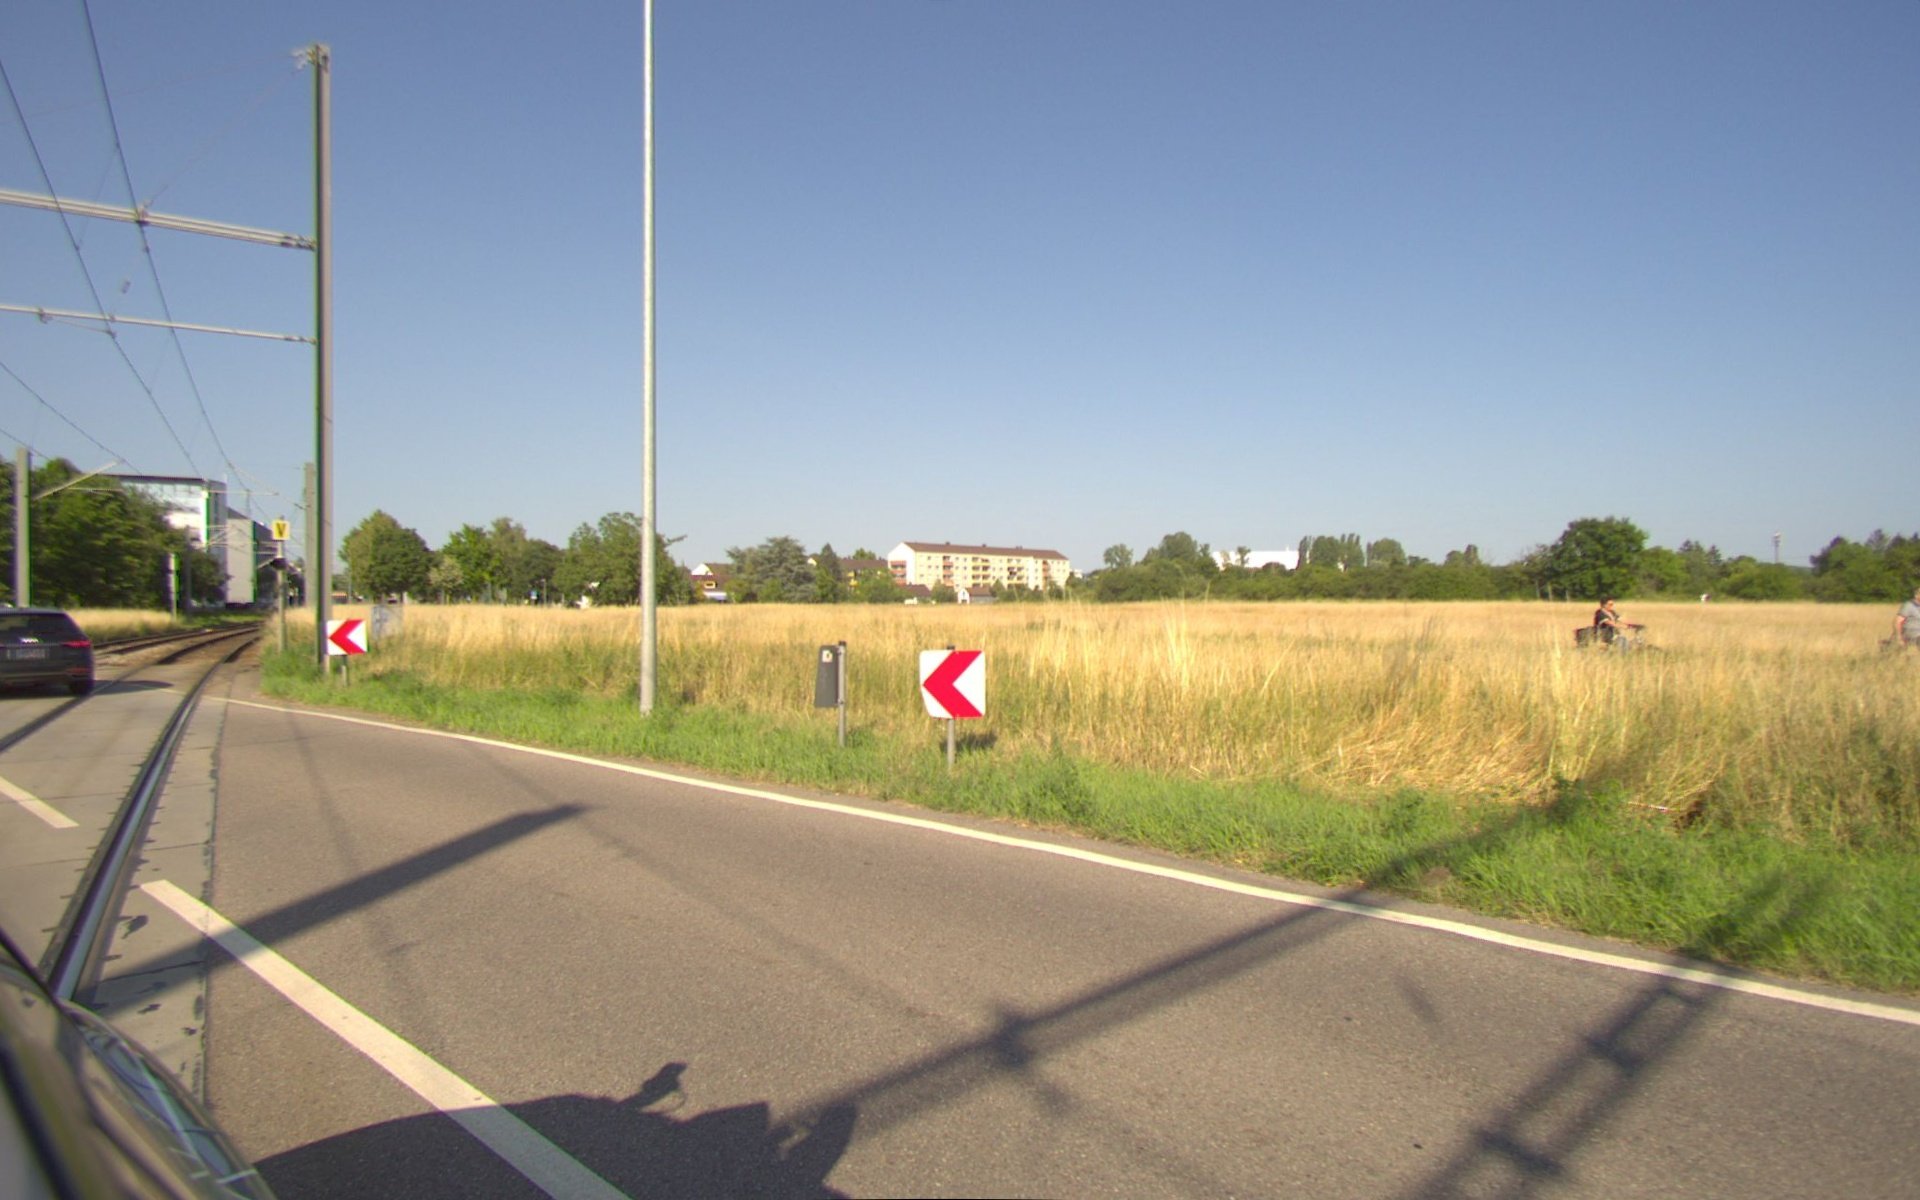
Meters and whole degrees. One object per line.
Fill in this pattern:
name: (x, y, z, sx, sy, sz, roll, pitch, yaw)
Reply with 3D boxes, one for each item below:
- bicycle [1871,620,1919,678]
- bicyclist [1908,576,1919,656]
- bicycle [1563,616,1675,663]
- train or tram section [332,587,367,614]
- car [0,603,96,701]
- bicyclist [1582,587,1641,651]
bicycle: (15.132, 0.753, 15.422, 0.740, 0.845, 1.740, -2, 1, -35)
bicyclist: (15.086, 0.241, 15.421, 0.735, 1.214, 0.791, -2, 1, -35)
bicycle: (12.827, 0.750, 19.745, 0.605, 0.845, 1.740, -2, 1, -35)
train or tram section: (-96.047, -0.021, 159.483, 2.865, 3.594, 14.310, -2, 3, -24)
car: (-15.886, 0.814, 16.698, 4.278, 1.450, 1.677, -1, 1, 38)
bicyclist: (12.759, 0.368, 19.833, 0.594, 1.214, 0.791, -2, 0, -35)
